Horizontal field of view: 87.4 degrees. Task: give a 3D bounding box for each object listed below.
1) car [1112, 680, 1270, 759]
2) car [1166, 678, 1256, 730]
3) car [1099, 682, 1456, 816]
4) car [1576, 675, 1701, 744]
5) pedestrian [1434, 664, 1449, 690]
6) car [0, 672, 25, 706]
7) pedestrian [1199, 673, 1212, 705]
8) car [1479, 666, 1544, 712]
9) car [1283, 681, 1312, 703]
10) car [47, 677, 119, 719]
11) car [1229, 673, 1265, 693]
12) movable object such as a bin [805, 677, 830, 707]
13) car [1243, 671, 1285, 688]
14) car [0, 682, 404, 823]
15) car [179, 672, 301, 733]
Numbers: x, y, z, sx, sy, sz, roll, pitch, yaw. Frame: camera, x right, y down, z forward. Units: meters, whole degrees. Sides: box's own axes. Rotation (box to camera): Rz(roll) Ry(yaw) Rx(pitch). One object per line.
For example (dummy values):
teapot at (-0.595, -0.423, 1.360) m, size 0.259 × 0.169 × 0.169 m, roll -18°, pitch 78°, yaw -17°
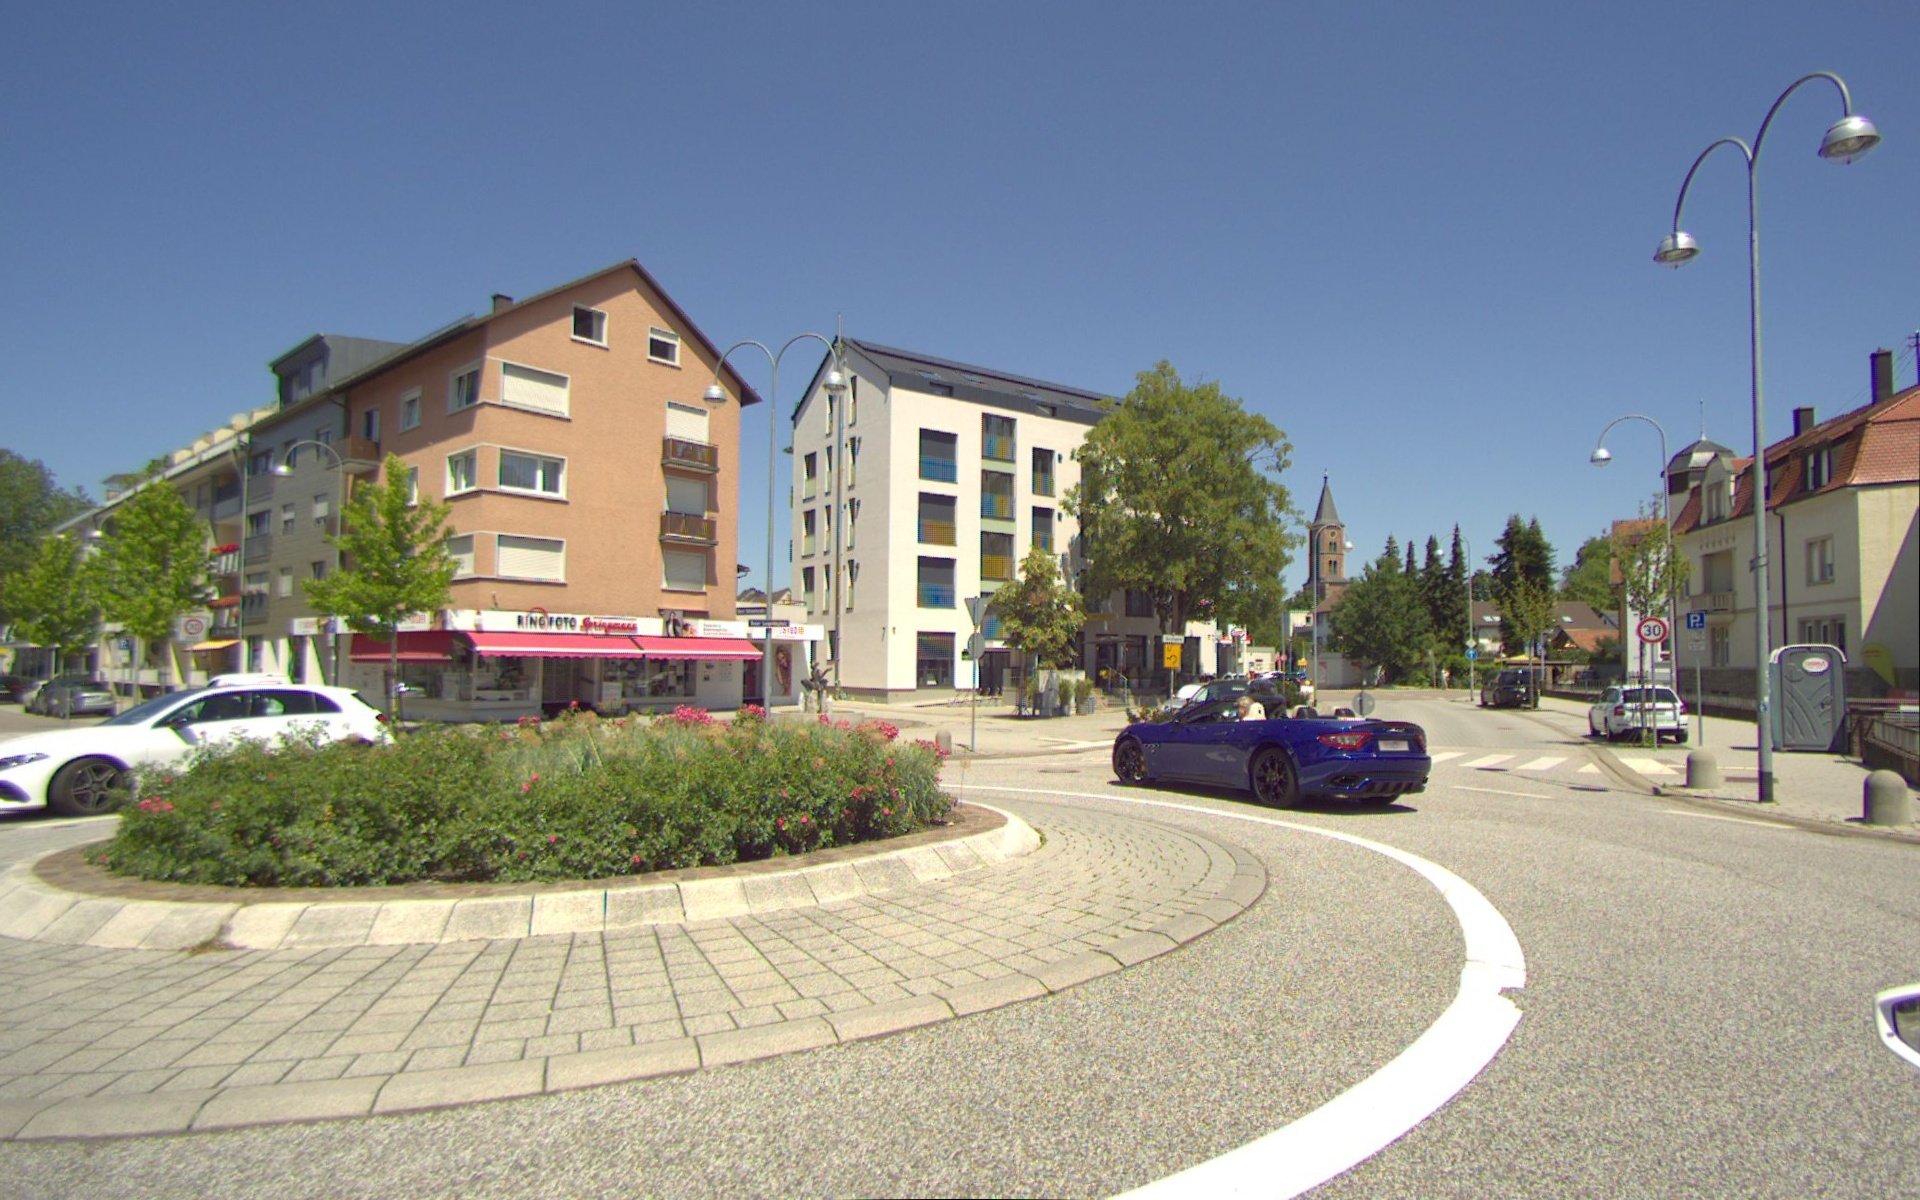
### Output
car at (5.680, 2.806, 24.334) m, size 1.970 × 1.710 × 4.508 m, roll -4°, pitch -6°, yaw 39°
car at (8.896, 3.607, 35.348) m, size 1.772 × 1.610 × 3.988 m, roll 0°, pitch -3°, yaw 35°
car at (3.868, 1.844, 13.209) m, size 1.955 × 1.415 × 4.604 m, roll 4°, pitch -6°, yaw -23°
car at (18.088, 2.897, 26.991) m, size 1.963 × 1.604 × 4.285 m, roll -6°, pitch -6°, yaw 24°
pedestrian at (35.336, 5.653, 73.728) m, size 0.830 × 1.838 × 0.548 m, roll 1°, pitch -1°, yaw -8°
car at (-57.402, 5.301, 59.939) m, size 4.504 × 1.822 × 1.989 m, roll -1°, pitch -2°, yaw 43°
pedestrian at (11.740, 4.263, 48.076) m, size 0.522 × 1.504 × 0.556 m, roll -1°, pitch -4°, yaw 19°
car at (26.638, 4.263, 48.649) m, size 1.960 × 1.890 × 4.288 m, roll 1°, pitch -1°, yaw 17°
car at (27.886, 7.572, 83.064) m, size 1.960 × 1.710 × 4.530 m, roll -1°, pitch -4°, yaw 16°
car at (-36.189, 4.022, 41.432) m, size 3.887 × 1.570 × 1.739 m, roll -4°, pitch -4°, yaw 41°
car at (23.912, 6.887, 83.882) m, size 1.801 × 1.594 × 4.002 m, roll 0°, pitch -3°, yaw 0°
movable object such as a bin at (-6.038, 3.882, 42.535) m, size 0.752 × 1.170 × 0.767 m, roll 2°, pitch -1°, yaw -32°
car at (32.742, 8.542, 108.202) m, size 3.933 × 1.673 × 1.994 m, roll 1°, pitch -1°, yaw -15°
car at (-9.545, 1.755, 12.427) m, size 1.900 × 1.399 × 4.278 m, roll -4°, pitch -6°, yaw 32°
car at (-22.923, 3.214, 31.975) m, size 3.841 × 1.746 × 1.749 m, roll -3°, pitch -3°, yaw 30°
